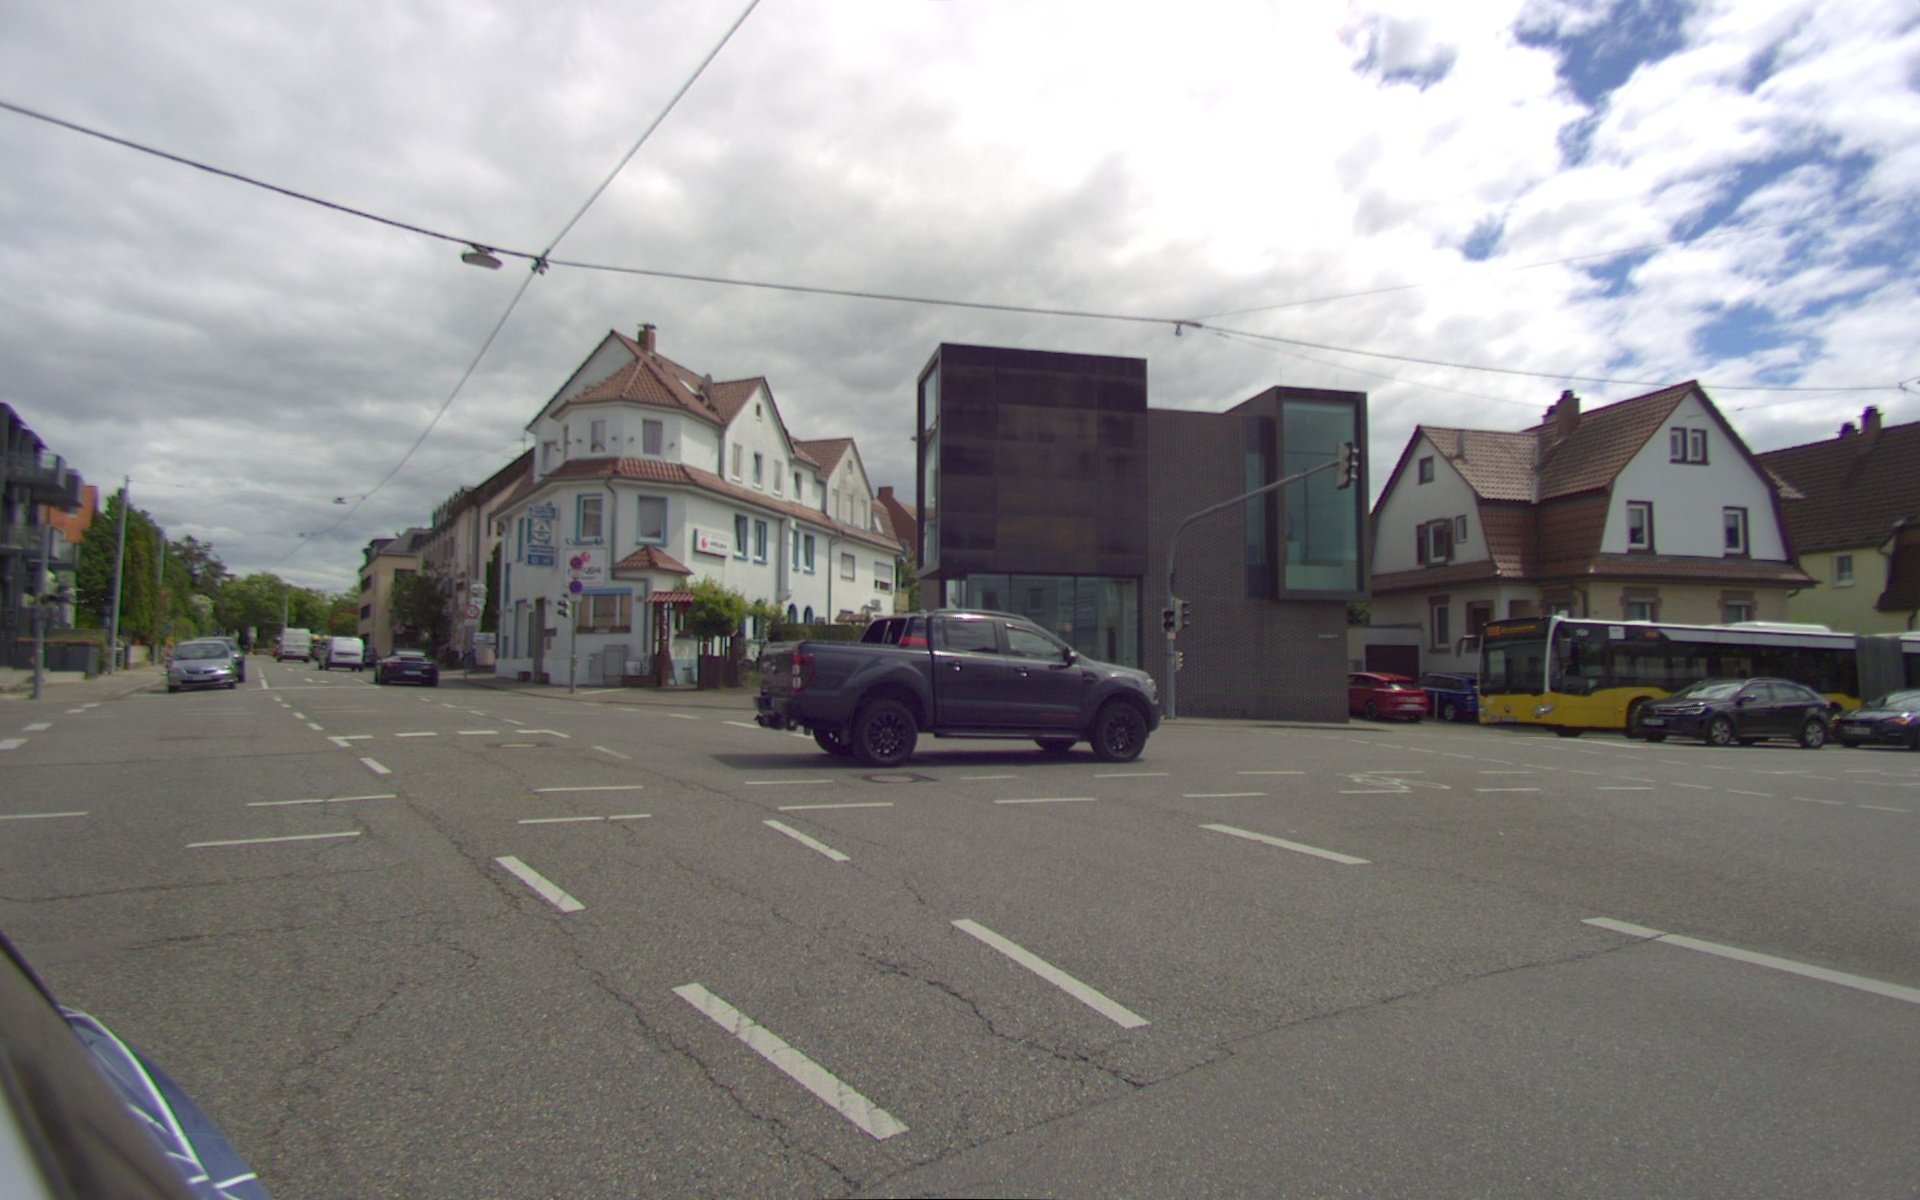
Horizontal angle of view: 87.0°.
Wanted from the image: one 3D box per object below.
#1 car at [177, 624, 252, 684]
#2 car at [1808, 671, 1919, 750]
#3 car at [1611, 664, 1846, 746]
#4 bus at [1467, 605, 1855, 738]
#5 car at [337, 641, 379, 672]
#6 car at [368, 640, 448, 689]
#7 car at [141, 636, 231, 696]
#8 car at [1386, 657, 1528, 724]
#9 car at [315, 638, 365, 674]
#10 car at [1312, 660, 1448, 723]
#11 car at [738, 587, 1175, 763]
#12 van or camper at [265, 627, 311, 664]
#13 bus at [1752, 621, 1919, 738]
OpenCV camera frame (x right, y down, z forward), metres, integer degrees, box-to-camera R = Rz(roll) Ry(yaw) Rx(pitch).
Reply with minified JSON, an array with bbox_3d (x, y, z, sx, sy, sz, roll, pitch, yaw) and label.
[{"bbox_3d":[-26.770,1.949,36.415,1.967,2.029,4.009,3,-4,-36],"label":"car"},{"bbox_3d":[22.203,2.519,23.224,4.115,1.652,2.004,2,-3,-11],"label":"car"},{"bbox_3d":[16.975,2.294,22.450,3.934,1.652,2.004,2,-3,-11],"label":"car"},{"bbox_3d":[17.966,1.880,26.064,9.038,3.084,2.794,2,-3,-13],"label":"bus"},{"bbox_3d":[-41.510,3.897,69.716,1.967,2.029,4.008,4,-4,-37],"label":"car"},{"bbox_3d":[-19.638,2.258,35.932,1.967,1.541,4.010,7,-5,-34],"label":"car"},{"bbox_3d":[-23.745,1.992,31.188,1.967,1.697,4.010,3,-4,-35],"label":"car"},{"bbox_3d":[16.365,2.949,33.571,1.966,1.696,4.012,2,1,-15],"label":"car"},{"bbox_3d":[-33.976,3.092,55.417,1.792,1.826,4.427,4,-5,-37],"label":"car"},{"bbox_3d":[13.482,2.917,32.748,1.966,1.652,4.011,2,0,-15],"label":"car"},{"bbox_3d":[0.016,0.941,12.674,5.130,1.863,1.894,3,-4,-25],"label":"car"},{"bbox_3d":[-51.491,3.510,77.502,2.081,2.606,5.654,7,-7,-40],"label":"van or camper"},{"bbox_3d":[26.872,2.215,27.884,9.038,2.937,2.794,2,-3,-13],"label":"bus"}]
